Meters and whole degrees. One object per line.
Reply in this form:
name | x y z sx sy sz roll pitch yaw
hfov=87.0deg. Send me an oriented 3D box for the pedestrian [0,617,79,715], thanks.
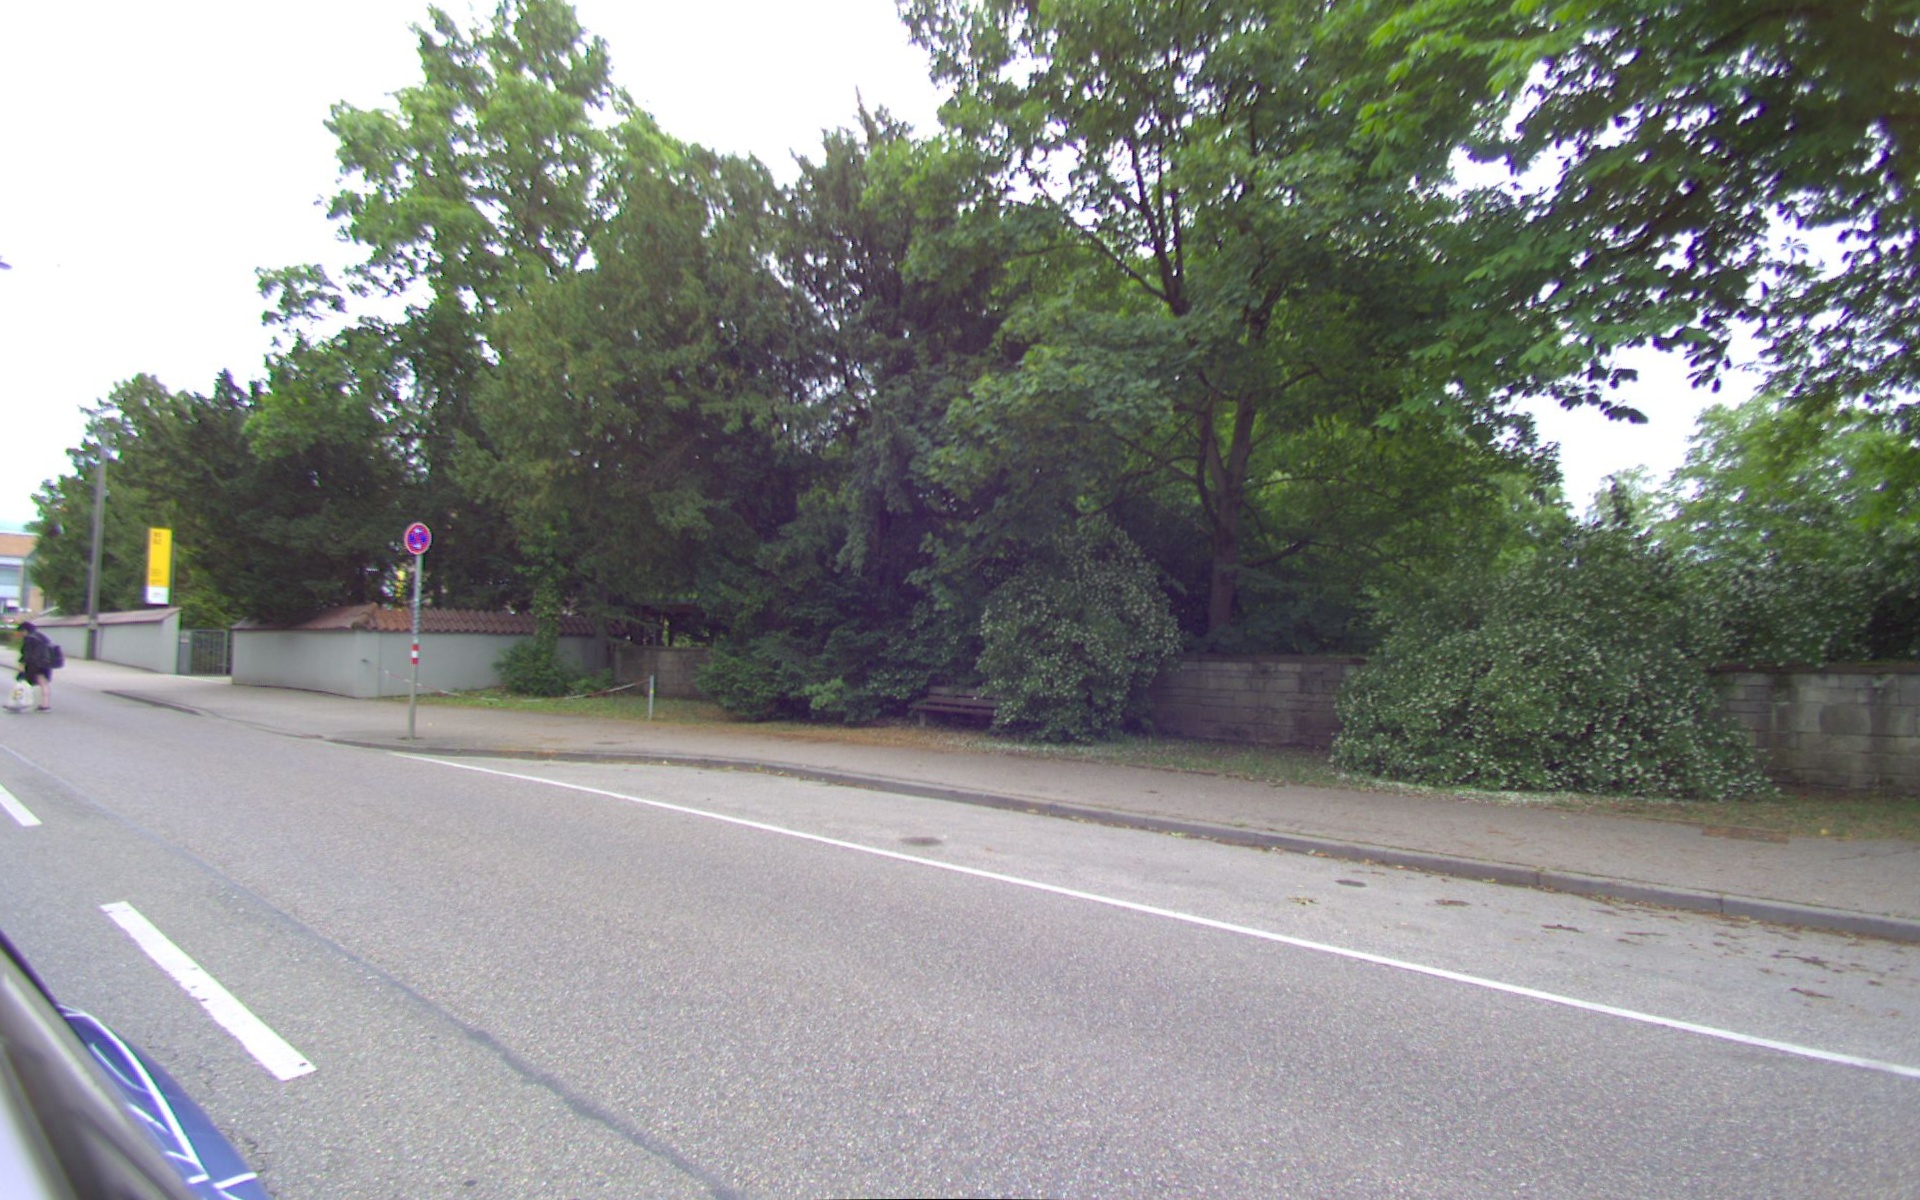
pedestrian | -15.692 1.107 16.990 0.888 1.572 0.931 4 -5 -12
